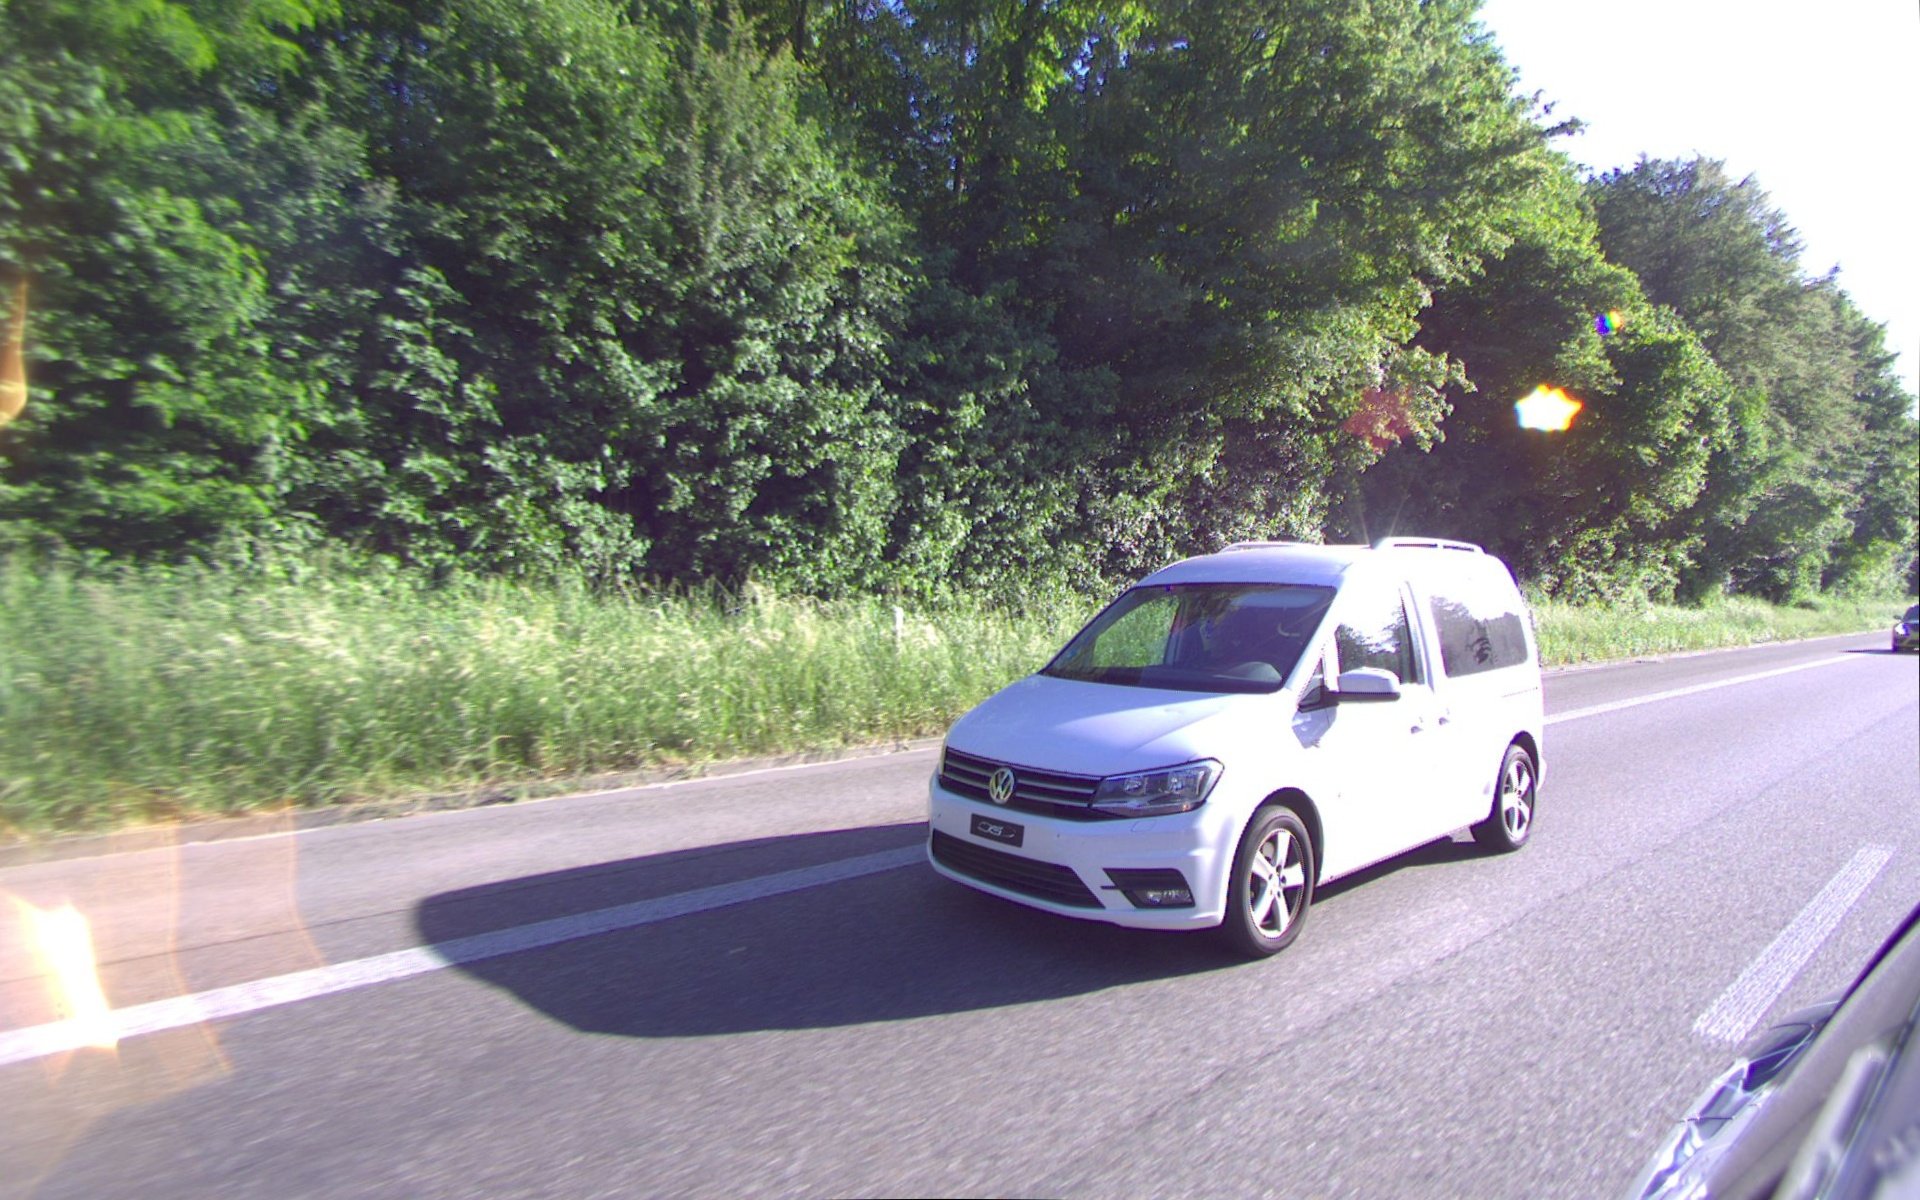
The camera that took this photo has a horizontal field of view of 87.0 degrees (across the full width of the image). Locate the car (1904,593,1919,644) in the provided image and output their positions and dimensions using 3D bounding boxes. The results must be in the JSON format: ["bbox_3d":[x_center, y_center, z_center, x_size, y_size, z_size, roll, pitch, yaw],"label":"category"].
[{"bbox_3d":[29.549,0.542,30.143,3.811,1.467,1.792,0,0,-42],"label":"car"}]

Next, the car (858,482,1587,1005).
[{"bbox_3d":[1.781,0.473,5.732,4.508,1.835,1.802,-1,1,-41],"label":"car"}]
